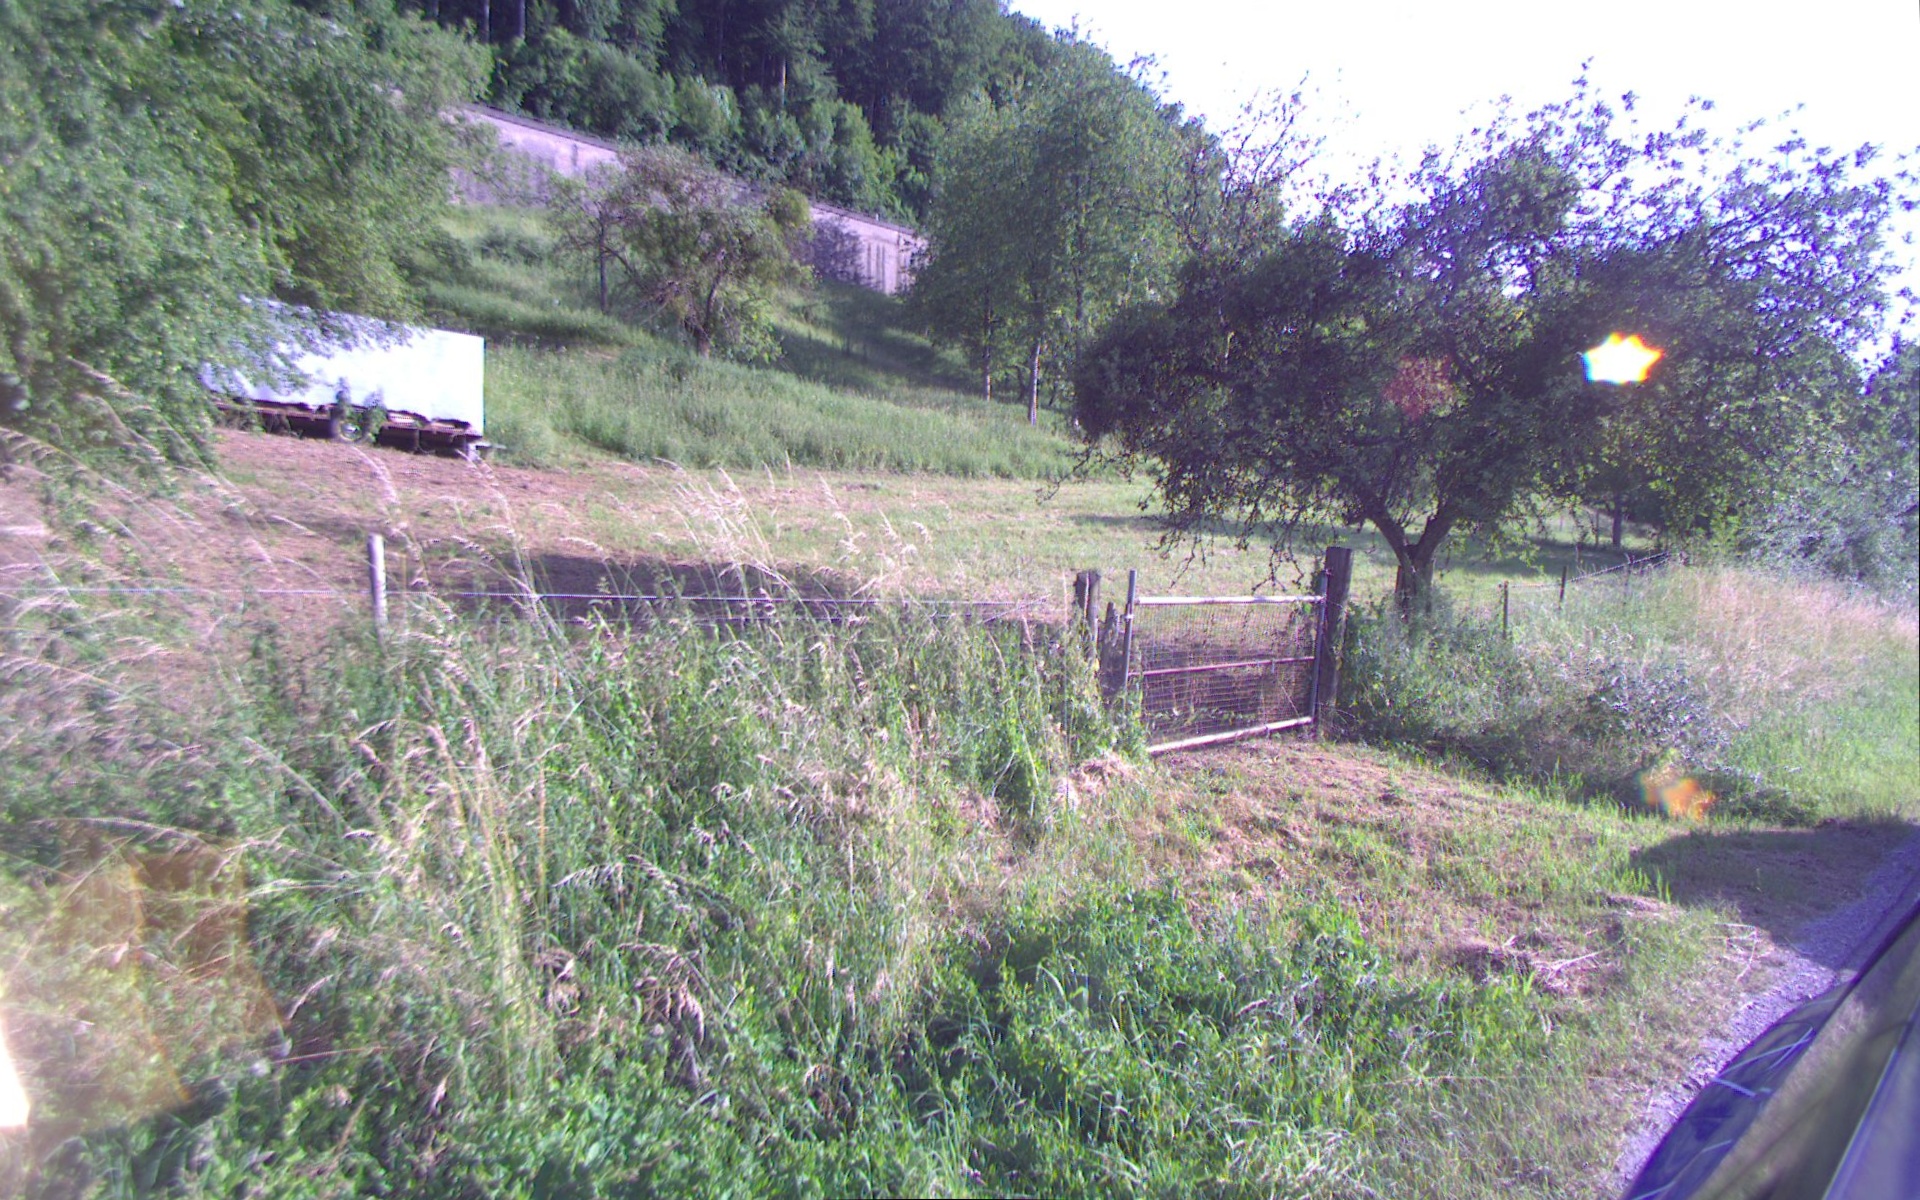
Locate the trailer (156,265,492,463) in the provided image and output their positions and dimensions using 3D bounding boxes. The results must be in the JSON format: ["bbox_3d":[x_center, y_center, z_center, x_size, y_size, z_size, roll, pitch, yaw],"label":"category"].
[{"bbox_3d":[-12.362,-4.404,19.939,5.159,2.590,2.155,4,1,-44],"label":"trailer"}]
